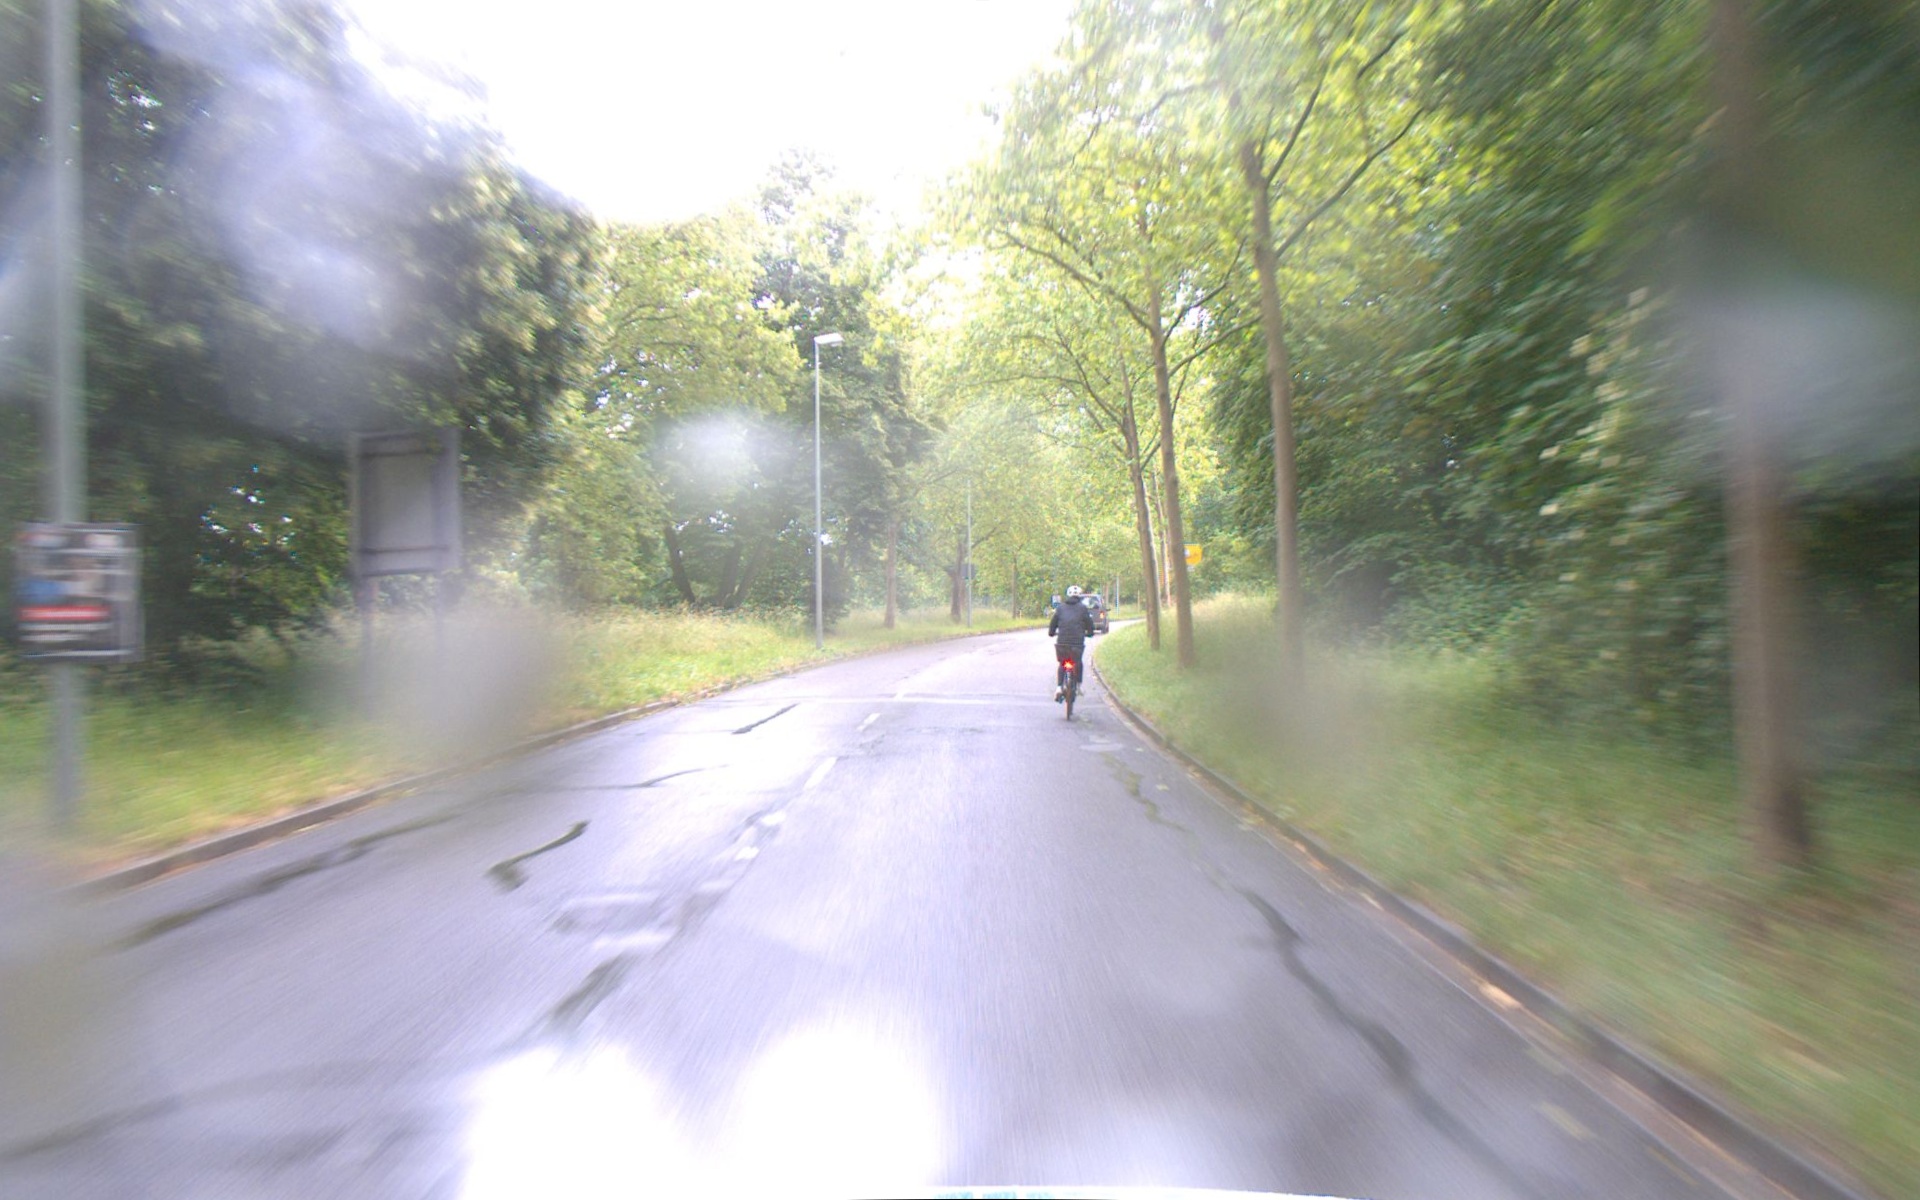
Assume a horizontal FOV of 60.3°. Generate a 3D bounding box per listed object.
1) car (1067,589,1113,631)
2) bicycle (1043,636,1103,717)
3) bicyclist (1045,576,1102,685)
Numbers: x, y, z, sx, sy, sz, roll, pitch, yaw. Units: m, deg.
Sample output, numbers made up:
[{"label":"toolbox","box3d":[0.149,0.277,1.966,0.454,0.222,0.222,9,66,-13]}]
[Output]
[{"label":"car","box3d":[6.254,0.465,79.313,1.943,1.959,4.003,0,0,9]},{"label":"bicycle","box3d":[1.521,1.017,22.561,0.714,0.991,2.173,1,0,2]},{"label":"bicyclist","box3d":[1.523,0.404,22.383,0.714,1.435,0.973,1,0,2]}]
